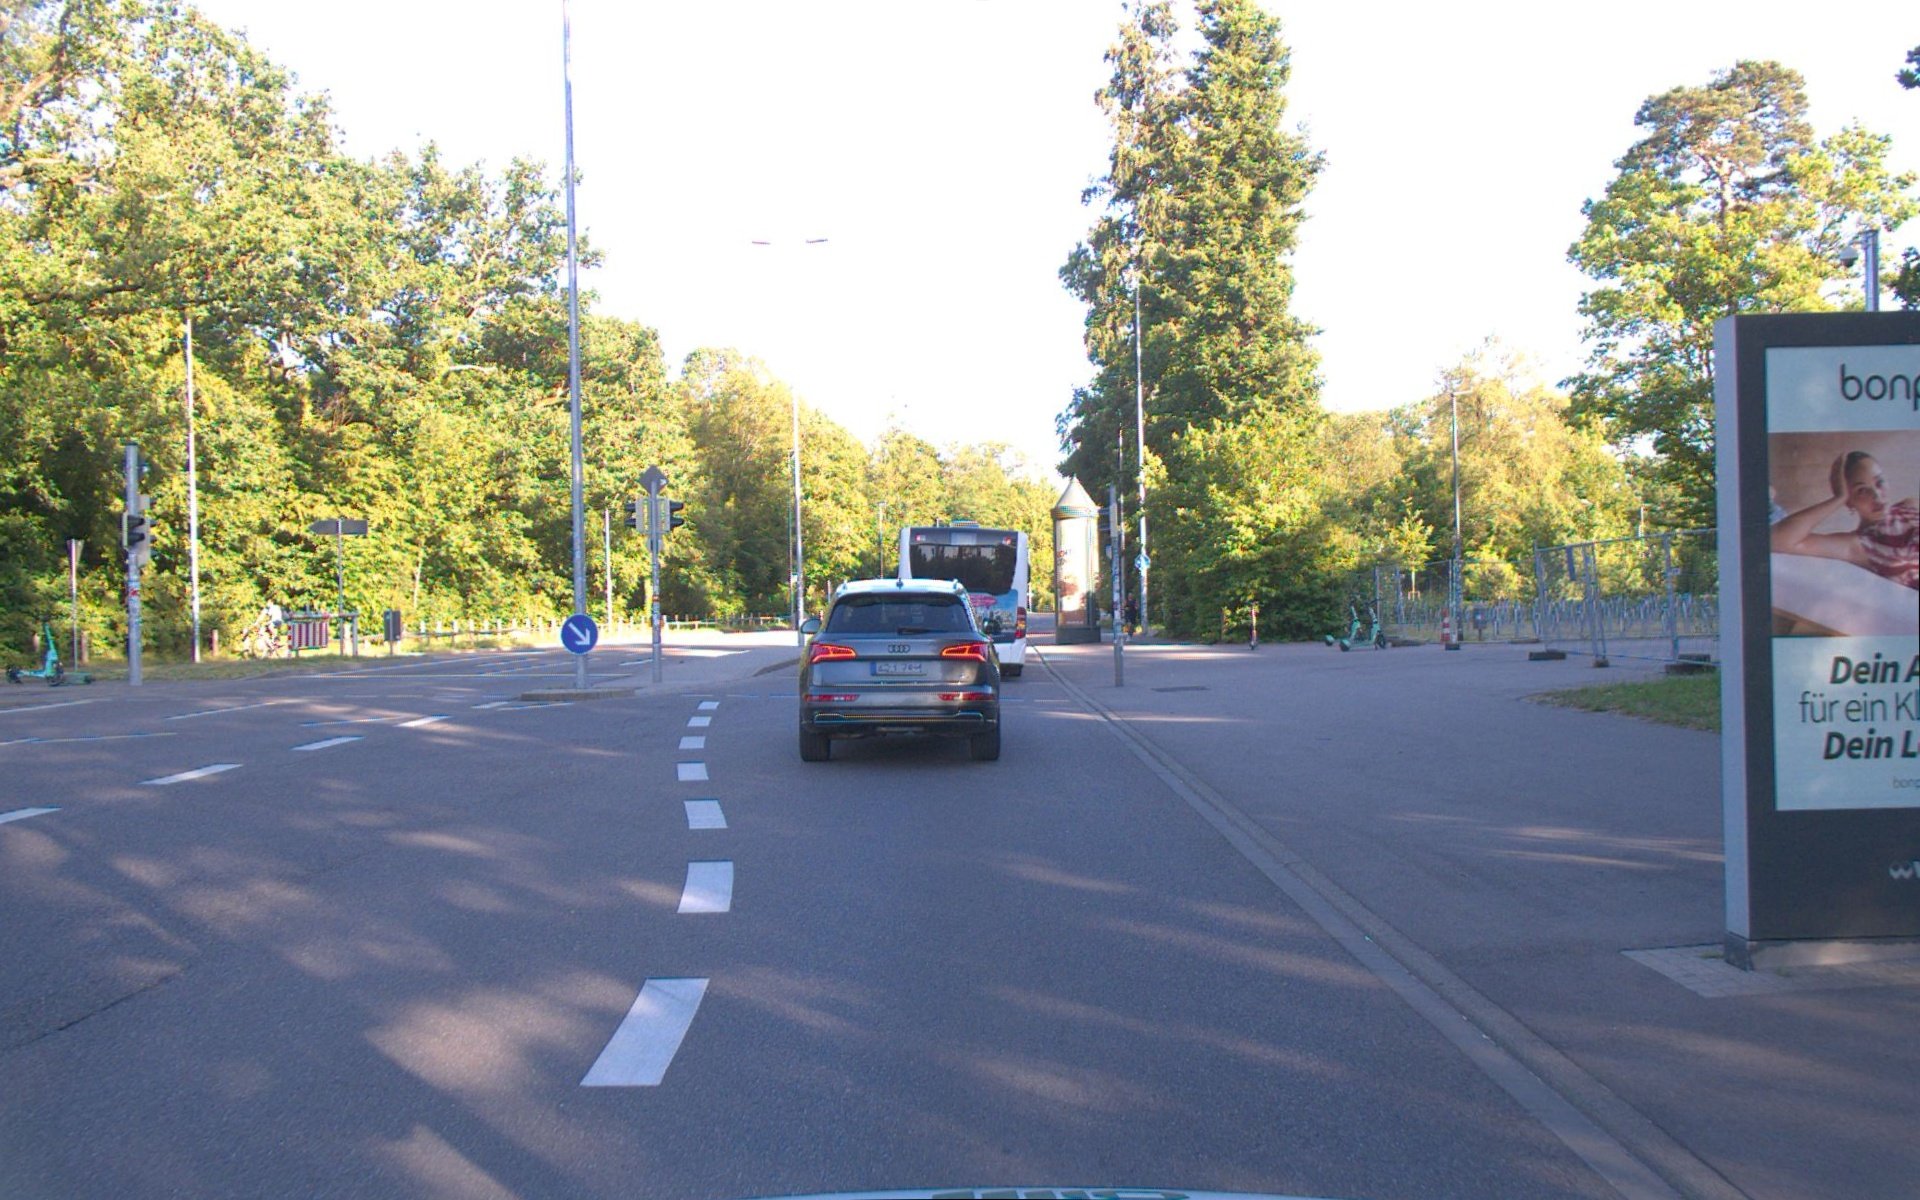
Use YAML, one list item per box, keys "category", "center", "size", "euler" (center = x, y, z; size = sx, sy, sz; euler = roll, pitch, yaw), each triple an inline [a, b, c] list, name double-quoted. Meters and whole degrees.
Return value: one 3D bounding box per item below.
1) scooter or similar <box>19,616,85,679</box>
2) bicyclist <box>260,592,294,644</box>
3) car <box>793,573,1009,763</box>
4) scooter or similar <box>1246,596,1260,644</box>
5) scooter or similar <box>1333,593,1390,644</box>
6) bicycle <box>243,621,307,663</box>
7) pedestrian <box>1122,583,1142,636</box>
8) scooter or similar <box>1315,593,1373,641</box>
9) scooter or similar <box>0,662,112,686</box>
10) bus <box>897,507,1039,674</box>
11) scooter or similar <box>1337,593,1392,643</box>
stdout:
- category: "scooter or similar"
  center: [-17.281, 0.897, 31.485]
  size: [1.044, 1.166, 0.394]
  euler: [-1, 1, 8]
- category: "bicyclist"
  center: [-21.037, 0.550, 50.947]
  size: [0.550, 1.578, 0.801]
  euler: [0, 2, 17]
- category: "car"
  center: [-0.528, 0.585, 16.554]
  size: [1.854, 1.633, 4.544]
  euler: [0, 0, -1]
- category: "scooter or similar"
  center: [7.638, 0.513, 43.168]
  size: [0.275, 1.192, 1.410]
  euler: [-2, 0, 9]
- category: "scooter or similar"
  center: [9.660, 0.453, 39.805]
  size: [1.239, 1.167, 0.394]
  euler: [-3, -2, 8]
- category: "bicycle"
  center: [-21.067, 1.269, 50.892]
  size: [0.665, 1.174, 1.985]
  euler: [0, 2, 18]
- category: "pedestrian"
  center: [5.676, 0.320, 54.572]
  size: [0.612, 1.718, 0.883]
  euler: [0, 0, 9]
- category: "scooter or similar"
  center: [10.073, 0.447, 43.404]
  size: [1.411, 1.187, 0.393]
  euler: [-3, -2, 29]
- category: "scooter or similar"
  center: [-16.535, 1.342, 30.198]
  size: [1.377, 0.345, 1.261]
  euler: [-1, 1, 8]
- category: "bus"
  center: [0.099, -0.156, 36.903]
  size: [2.635, 3.096, 12.039]
  euler: [0, 0, -1]
- category: "scooter or similar"
  center: [9.877, 0.447, 40.425]
  size: [1.219, 1.187, 0.394]
  euler: [-2, -2, 25]
